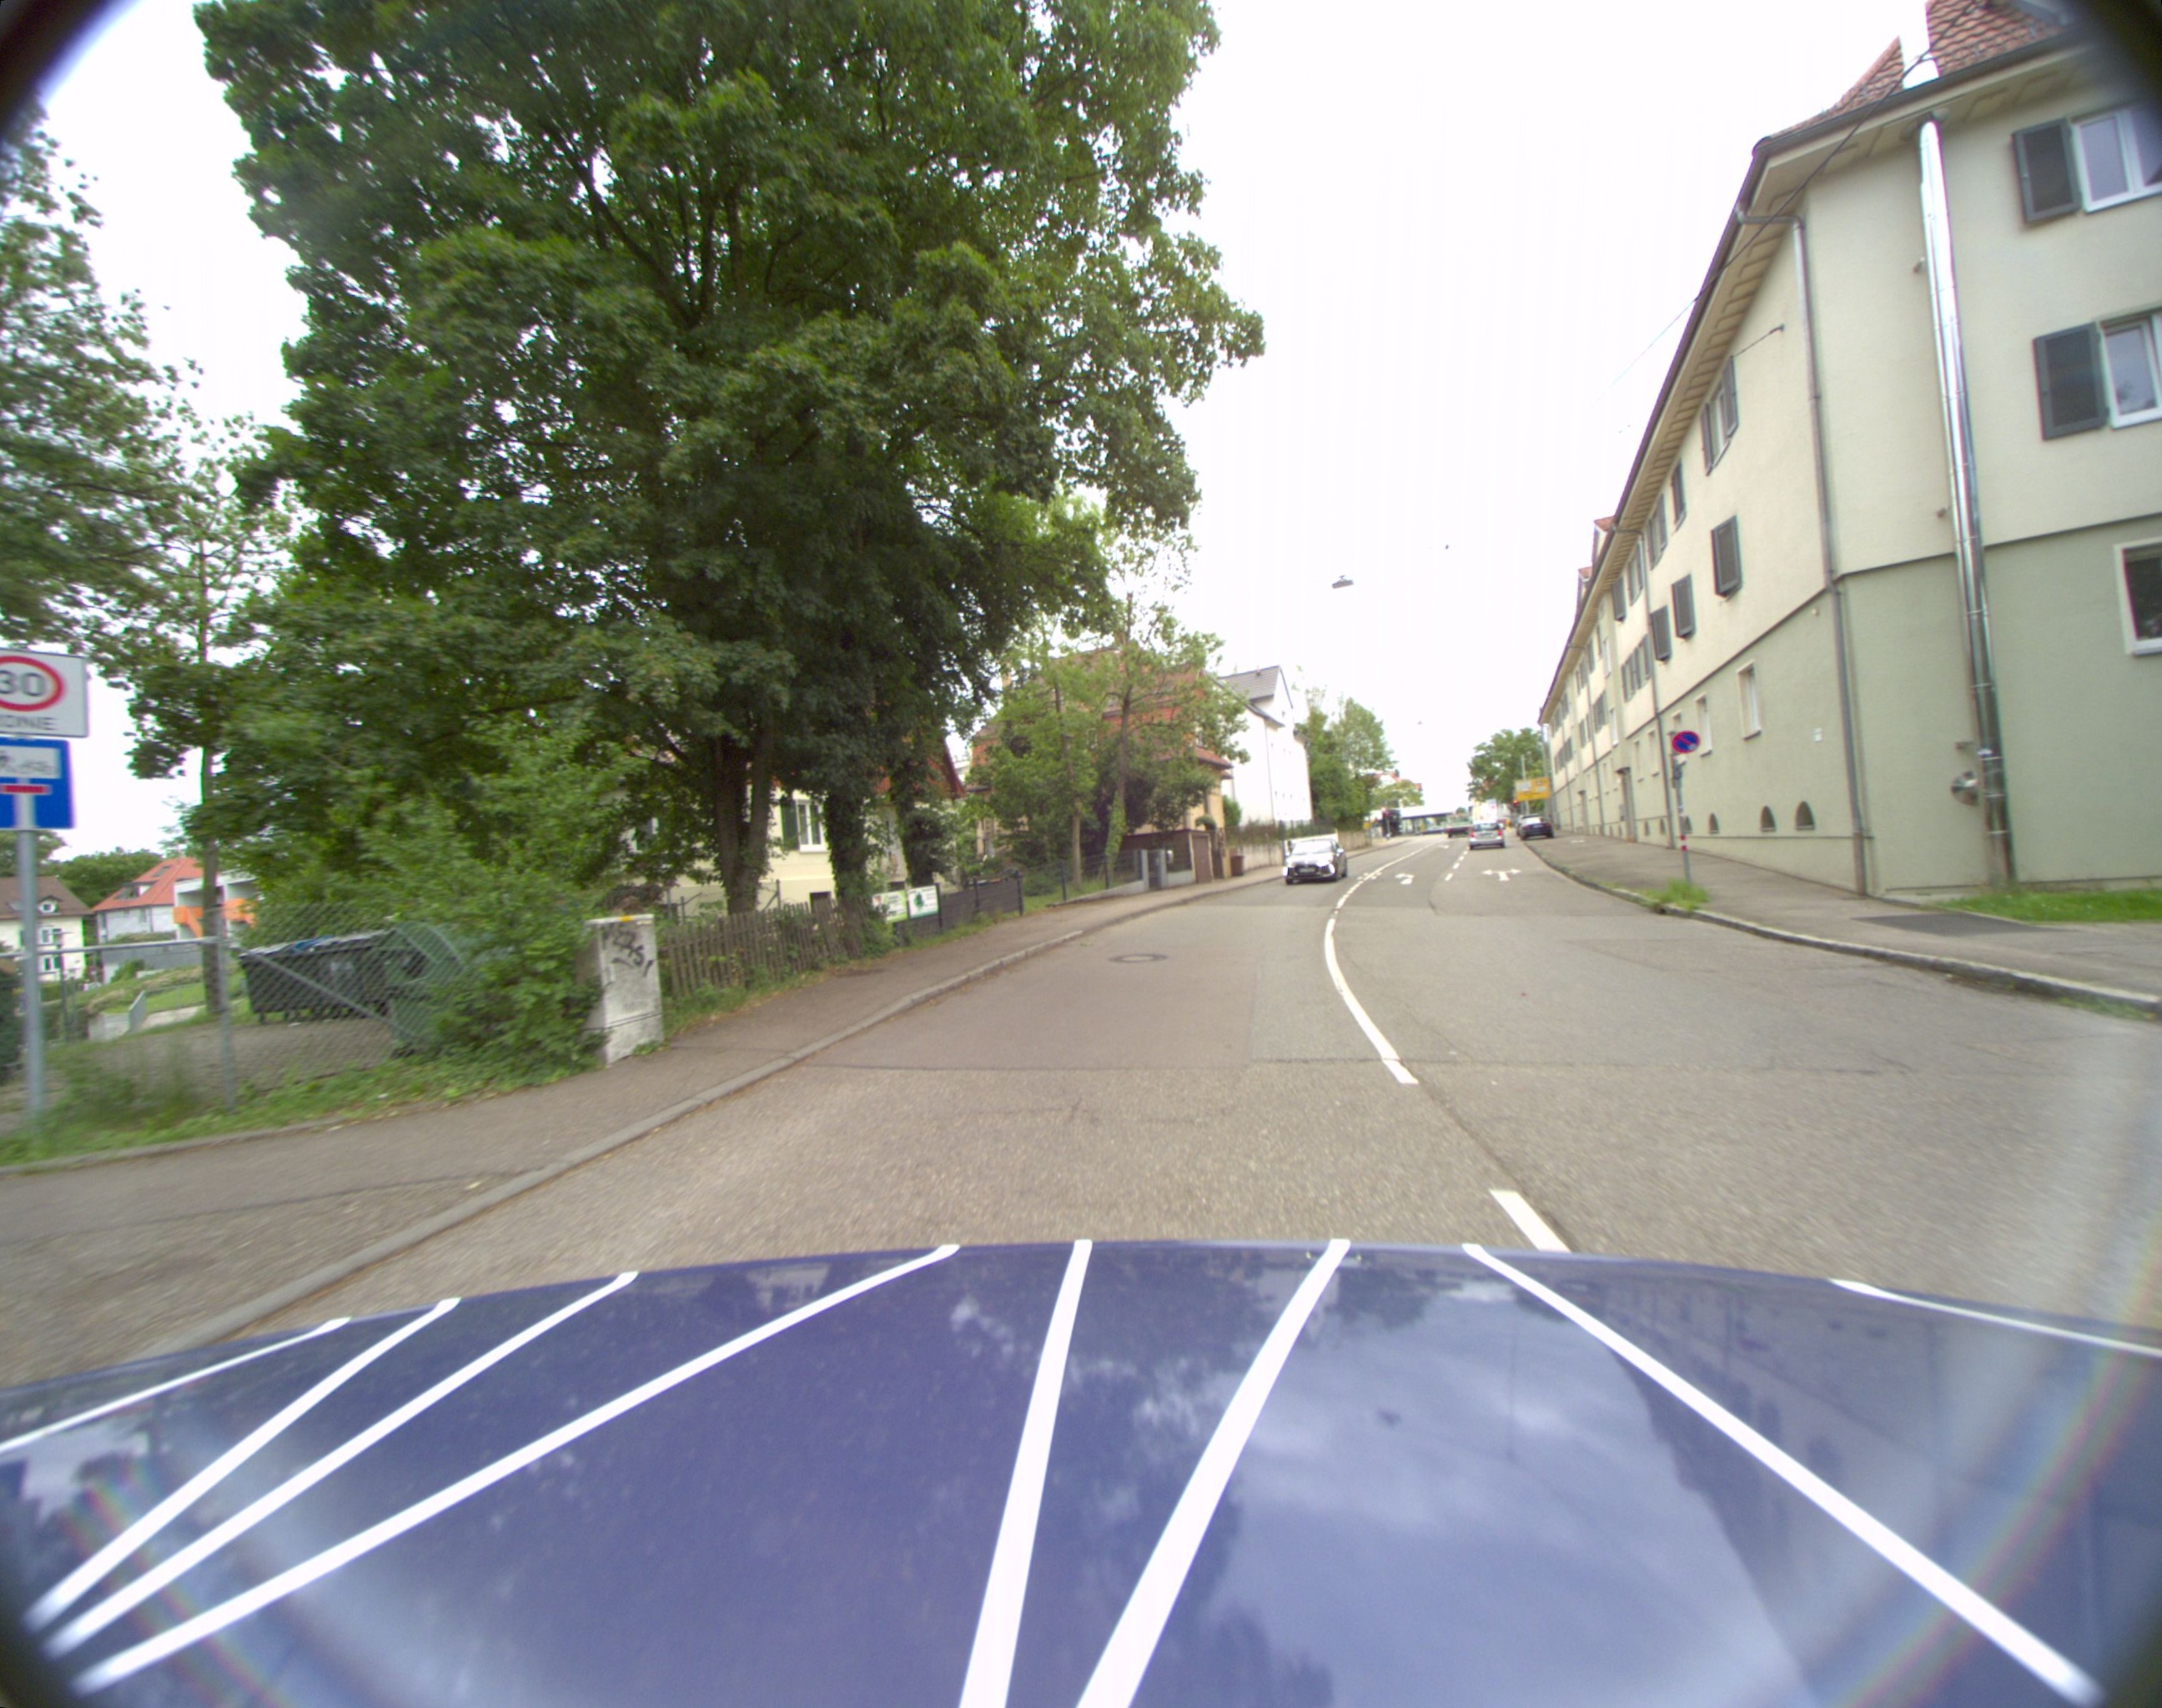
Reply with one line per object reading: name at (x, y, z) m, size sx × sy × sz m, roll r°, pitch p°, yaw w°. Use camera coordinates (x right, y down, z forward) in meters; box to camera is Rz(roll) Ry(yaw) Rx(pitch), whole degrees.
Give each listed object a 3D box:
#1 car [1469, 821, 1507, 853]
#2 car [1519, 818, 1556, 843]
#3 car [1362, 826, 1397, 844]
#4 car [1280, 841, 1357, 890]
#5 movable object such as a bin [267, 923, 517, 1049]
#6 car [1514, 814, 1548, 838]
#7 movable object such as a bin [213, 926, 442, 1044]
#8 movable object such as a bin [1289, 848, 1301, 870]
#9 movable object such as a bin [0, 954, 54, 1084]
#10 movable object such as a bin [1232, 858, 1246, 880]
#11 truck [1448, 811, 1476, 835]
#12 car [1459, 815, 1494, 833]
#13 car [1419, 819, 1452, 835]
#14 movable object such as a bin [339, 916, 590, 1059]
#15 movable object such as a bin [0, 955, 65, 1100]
car at (22.936, -0.992, 42.800) m, size 1.724 × 1.595 × 3.983 m, roll -4°, pitch 0°, yaw 28°
car at (29.419, -1.534, 49.045) m, size 1.712 × 1.395 × 4.853 m, roll -5°, pitch 0°, yaw 28°
car at (38.938, -2.532, 99.162) m, size 3.991 × 2.002 × 2.003 m, roll -4°, pitch 1°, yaw 25°
car at (8.308, 0.372, 26.391) m, size 1.643 × 1.390 × 3.787 m, roll -4°, pitch 1°, yaw 30°
movable object such as a bin at (-11.809, 2.205, 13.135) m, size 2.495 × 1.703 × 2.211 m, roll -4°, pitch 0°, yaw 21°
car at (34.620, -2.138, 58.567) m, size 1.824 × 1.623 × 4.703 m, roll -6°, pitch -1°, yaw 27°
movable object such as a bin at (-13.954, 2.372, 14.173) m, size 2.231 × 1.722 × 2.211 m, roll -4°, pitch 0°, yaw 21°
movable object such as a bin at (11.876, 0.285, 42.172) m, size 0.528 × 1.171 × 0.635 m, roll -1°, pitch 2°, yaw 27°
movable object such as a bin at (-14.759, 2.157, 9.444) m, size 2.891 × 1.538 × 1.449 m, roll -4°, pitch 0°, yaw 18°
movable object such as a bin at (6.883, 0.636, 33.094) m, size 0.461 × 0.919 × 0.567 m, roll -1°, pitch 2°, yaw 27°
truck at (37.874, -3.092, 75.473) m, size 2.122 × 2.188 × 6.600 m, roll -3°, pitch 1°, yaw 29°
car at (53.266, -4.063, 102.447) m, size 3.991 × 2.002 × 2.002 m, roll -4°, pitch 1°, yaw 23°
car at (50.026, -3.817, 107.188) m, size 3.991 × 2.002 × 2.002 m, roll -4°, pitch 1°, yaw 23°
movable object such as a bin at (-9.607, 2.009, 11.975) m, size 2.105 × 1.776 × 2.211 m, roll -4°, pitch 0°, yaw 21°
movable object such as a bin at (-12.722, 1.989, 8.189) m, size 1.423 × 1.538 × 1.677 m, roll -4°, pitch 0°, yaw 18°
